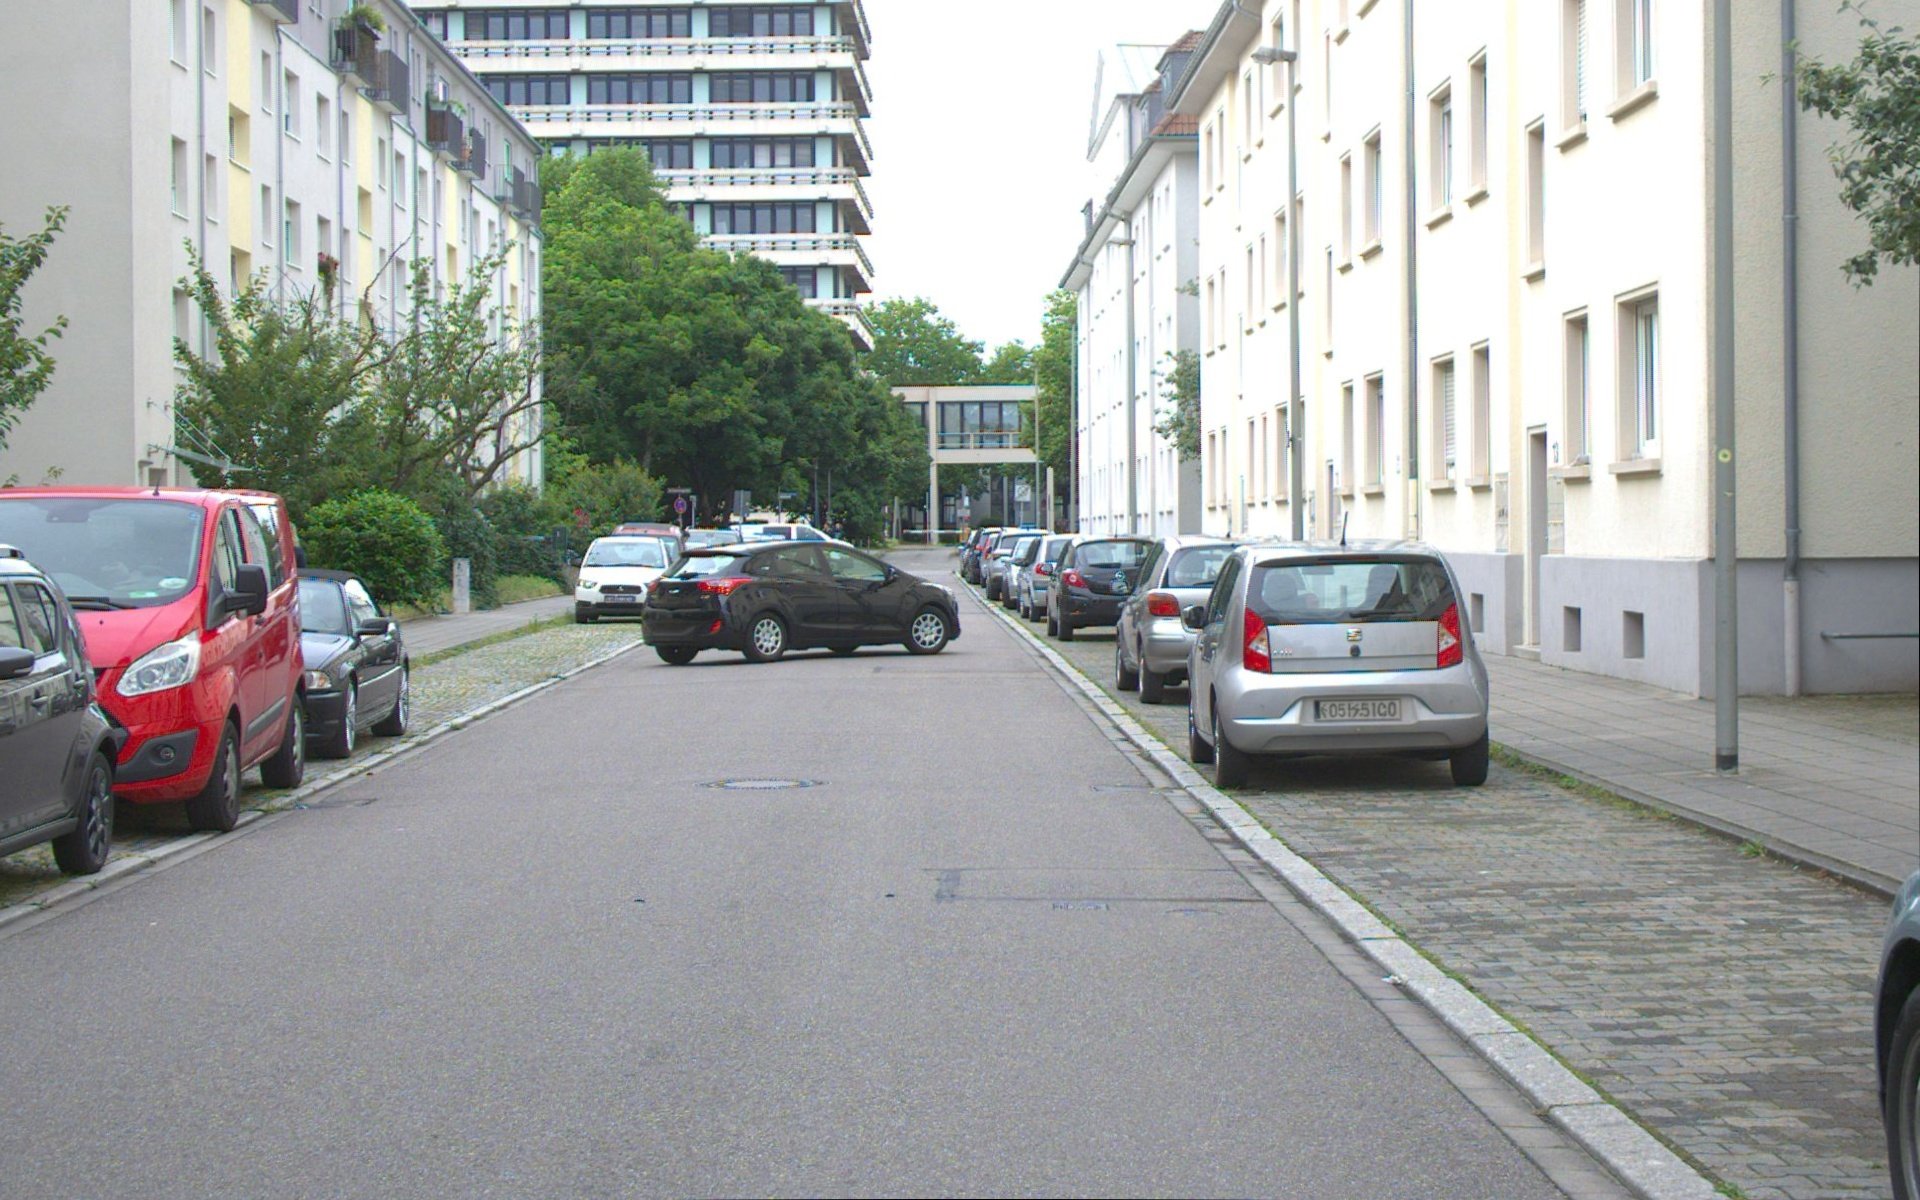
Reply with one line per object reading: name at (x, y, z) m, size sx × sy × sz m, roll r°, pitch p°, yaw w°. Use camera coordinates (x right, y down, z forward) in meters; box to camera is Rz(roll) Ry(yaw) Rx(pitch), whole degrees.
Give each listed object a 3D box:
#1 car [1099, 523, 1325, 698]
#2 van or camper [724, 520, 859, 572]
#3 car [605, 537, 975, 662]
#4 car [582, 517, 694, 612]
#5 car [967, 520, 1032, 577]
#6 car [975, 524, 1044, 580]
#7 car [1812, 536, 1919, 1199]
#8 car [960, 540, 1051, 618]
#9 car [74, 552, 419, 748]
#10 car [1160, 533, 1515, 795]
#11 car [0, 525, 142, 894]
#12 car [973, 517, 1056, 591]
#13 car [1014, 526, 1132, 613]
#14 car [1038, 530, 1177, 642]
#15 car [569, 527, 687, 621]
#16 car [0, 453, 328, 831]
car at (2.275, 0.046, 31.958) m, size 1.725 × 1.512 × 4.061 m, roll 0°, pitch 1°, yaw -1°
van or camper at (-6.568, -2.098, 133.600) m, size 5.171 × 2.007 × 2.000 m, roll 0°, pitch 1°, yaw -4°
car at (-2.020, -0.039, 41.570) m, size 4.221 × 1.428 × 1.908 m, roll -1°, pitch 1°, yaw -42°
car at (-6.250, -0.711, 67.118) m, size 1.956 × 1.764 × 4.362 m, roll 1°, pitch 1°, yaw -3°
car at (1.131, -1.490, 99.285) m, size 1.820 × 1.597 × 4.091 m, roll 0°, pitch 1°, yaw 0°
car at (1.339, -1.336, 94.401) m, size 1.820 × 1.498 × 4.091 m, roll 0°, pitch 1°, yaw 0°
car at (2.728, 0.639, 5.242) m, size 1.725 × 1.464 × 4.265 m, roll 0°, pitch 1°, yaw -1°
car at (0.889, -0.447, 69.429) m, size 1.725 × 1.471 × 4.505 m, roll 1°, pitch 1°, yaw 0°
car at (-5.399, 0.329, 26.553) m, size 1.870 × 1.319 × 4.362 m, roll 2°, pitch 1°, yaw -2°
car at (2.292, 0.330, 21.817) m, size 1.725 × 1.487 × 4.061 m, roll 0°, pitch 1°, yaw -1°
car at (-4.947, 0.437, 15.163) m, size 1.720 × 1.564 × 4.054 m, roll 2°, pitch 1°, yaw -1°
car at (1.213, -1.058, 78.361) m, size 1.820 × 1.636 × 4.091 m, roll 0°, pitch 1°, yaw 0°
car at (1.909, -0.550, 59.116) m, size 1.848 × 1.445 × 3.833 m, roll 0°, pitch 1°, yaw -1°
car at (2.052, -0.227, 48.814) m, size 1.725 × 1.512 × 4.061 m, roll 0°, pitch 1°, yaw -1°
car at (-5.885, -0.492, 61.286) m, size 1.720 × 1.564 × 3.870 m, roll 2°, pitch 1°, yaw -1°
car at (-5.205, 0.154, 20.491) m, size 2.151 × 1.947 × 4.922 m, roll 2°, pitch 1°, yaw -3°
